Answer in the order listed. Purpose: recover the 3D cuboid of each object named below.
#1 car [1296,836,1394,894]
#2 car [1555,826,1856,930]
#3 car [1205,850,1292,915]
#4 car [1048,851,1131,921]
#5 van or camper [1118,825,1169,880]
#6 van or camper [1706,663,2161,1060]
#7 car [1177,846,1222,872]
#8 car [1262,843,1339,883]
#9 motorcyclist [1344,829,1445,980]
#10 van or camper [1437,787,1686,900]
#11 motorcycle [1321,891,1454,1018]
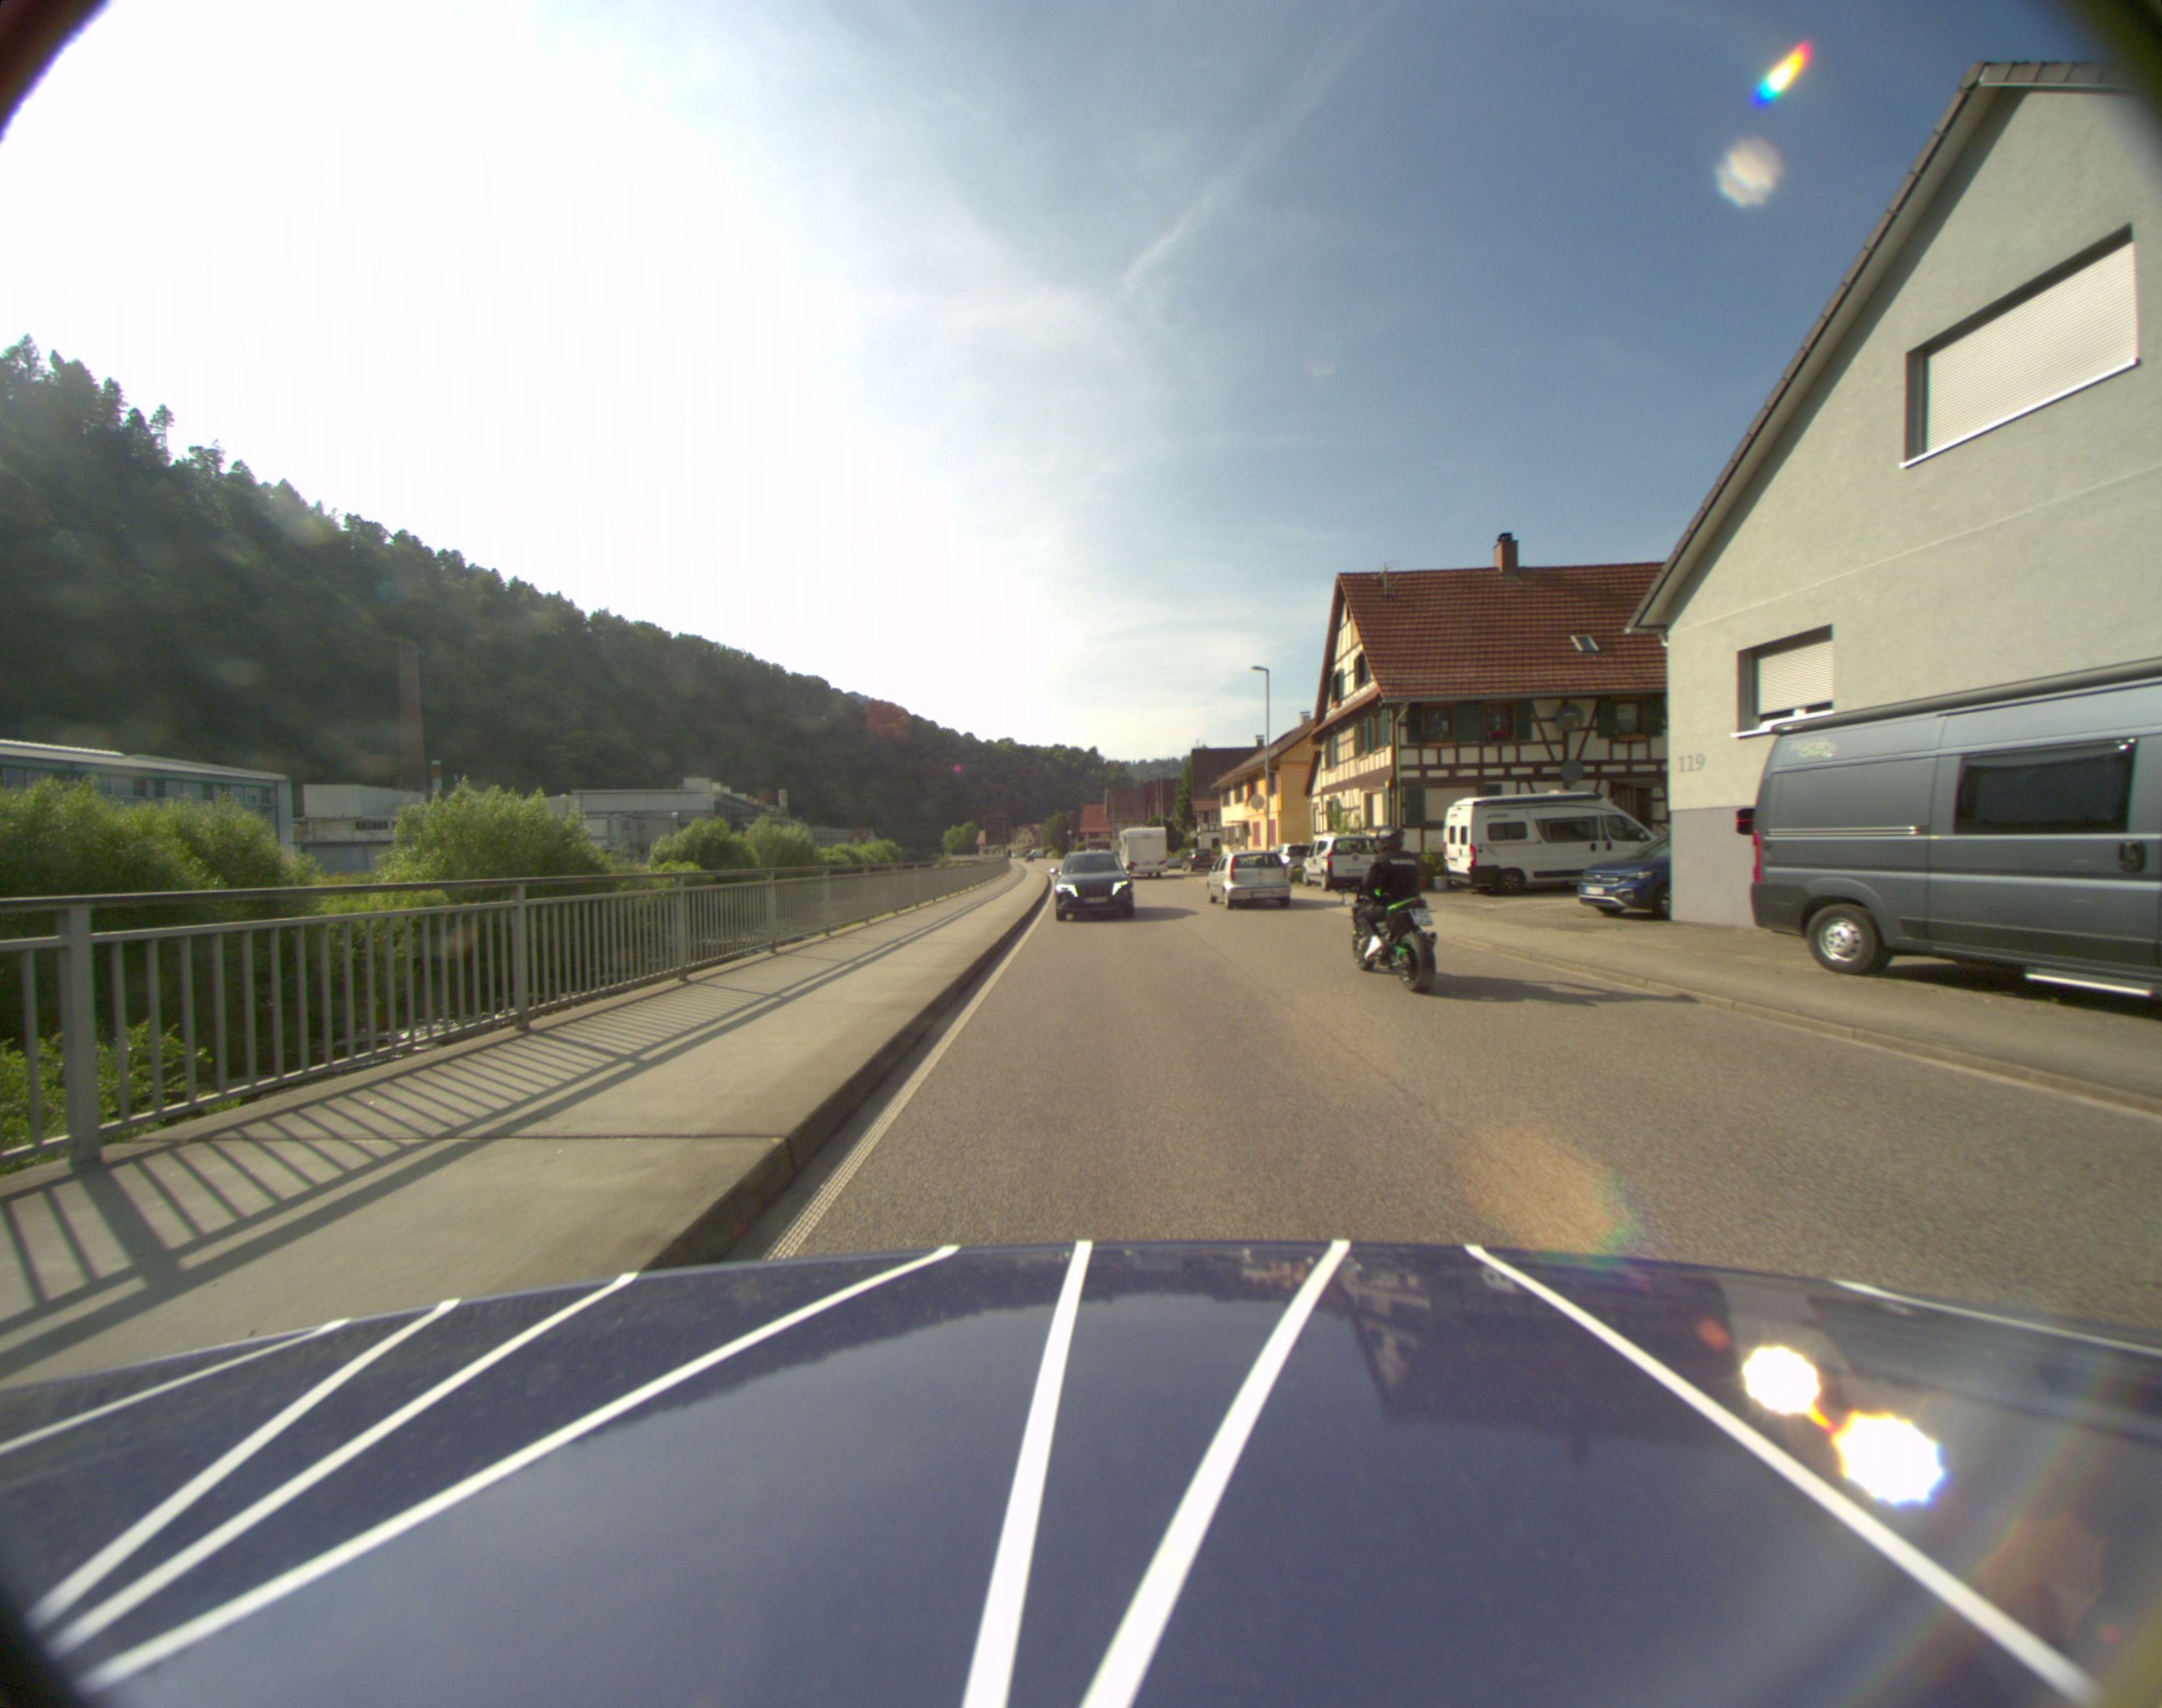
[{"bbox_3d":[8.419,0.308,24.629,1.905,1.655,4.268,-2,1,4],"label":"car"},{"bbox_3d":[11.335,0.414,14.015,3.928,1.541,1.907,-4,0,0],"label":"car"},{"bbox_3d":[4.396,0.685,20.457,1.634,1.476,4.001,-3,0,4],"label":"car"},{"bbox_3d":[0.134,0.770,20.607,1.650,1.639,3.997,-3,1,-7],"label":"car"},{"bbox_3d":[3.557,-0.082,44.884,2.201,2.921,7.125,-2,0,-1],"label":"van or camper"},{"bbox_3d":[7.998,0.020,5.514,2.153,2.540,5.901,-2,0,1],"label":"van or camper"},{"bbox_3d":[7.657,0.300,49.489,1.890,1.510,4.234,-3,0,-5],"label":"car"},{"bbox_3d":[8.821,0.349,30.891,1.889,1.510,4.093,0,0,-1],"label":"car"},{"bbox_3d":[3.339,0.521,8.136,0.827,1.549,0.628,-1,1,4],"label":"motorcyclist"},{"bbox_3d":[12.806,-0.264,20.605,5.186,2.648,2.193,-3,1,7],"label":"van or camper"},{"bbox_3d":[3.252,1.007,8.292,0.655,1.062,2.182,-1,1,3],"label":"motorcycle"}]
